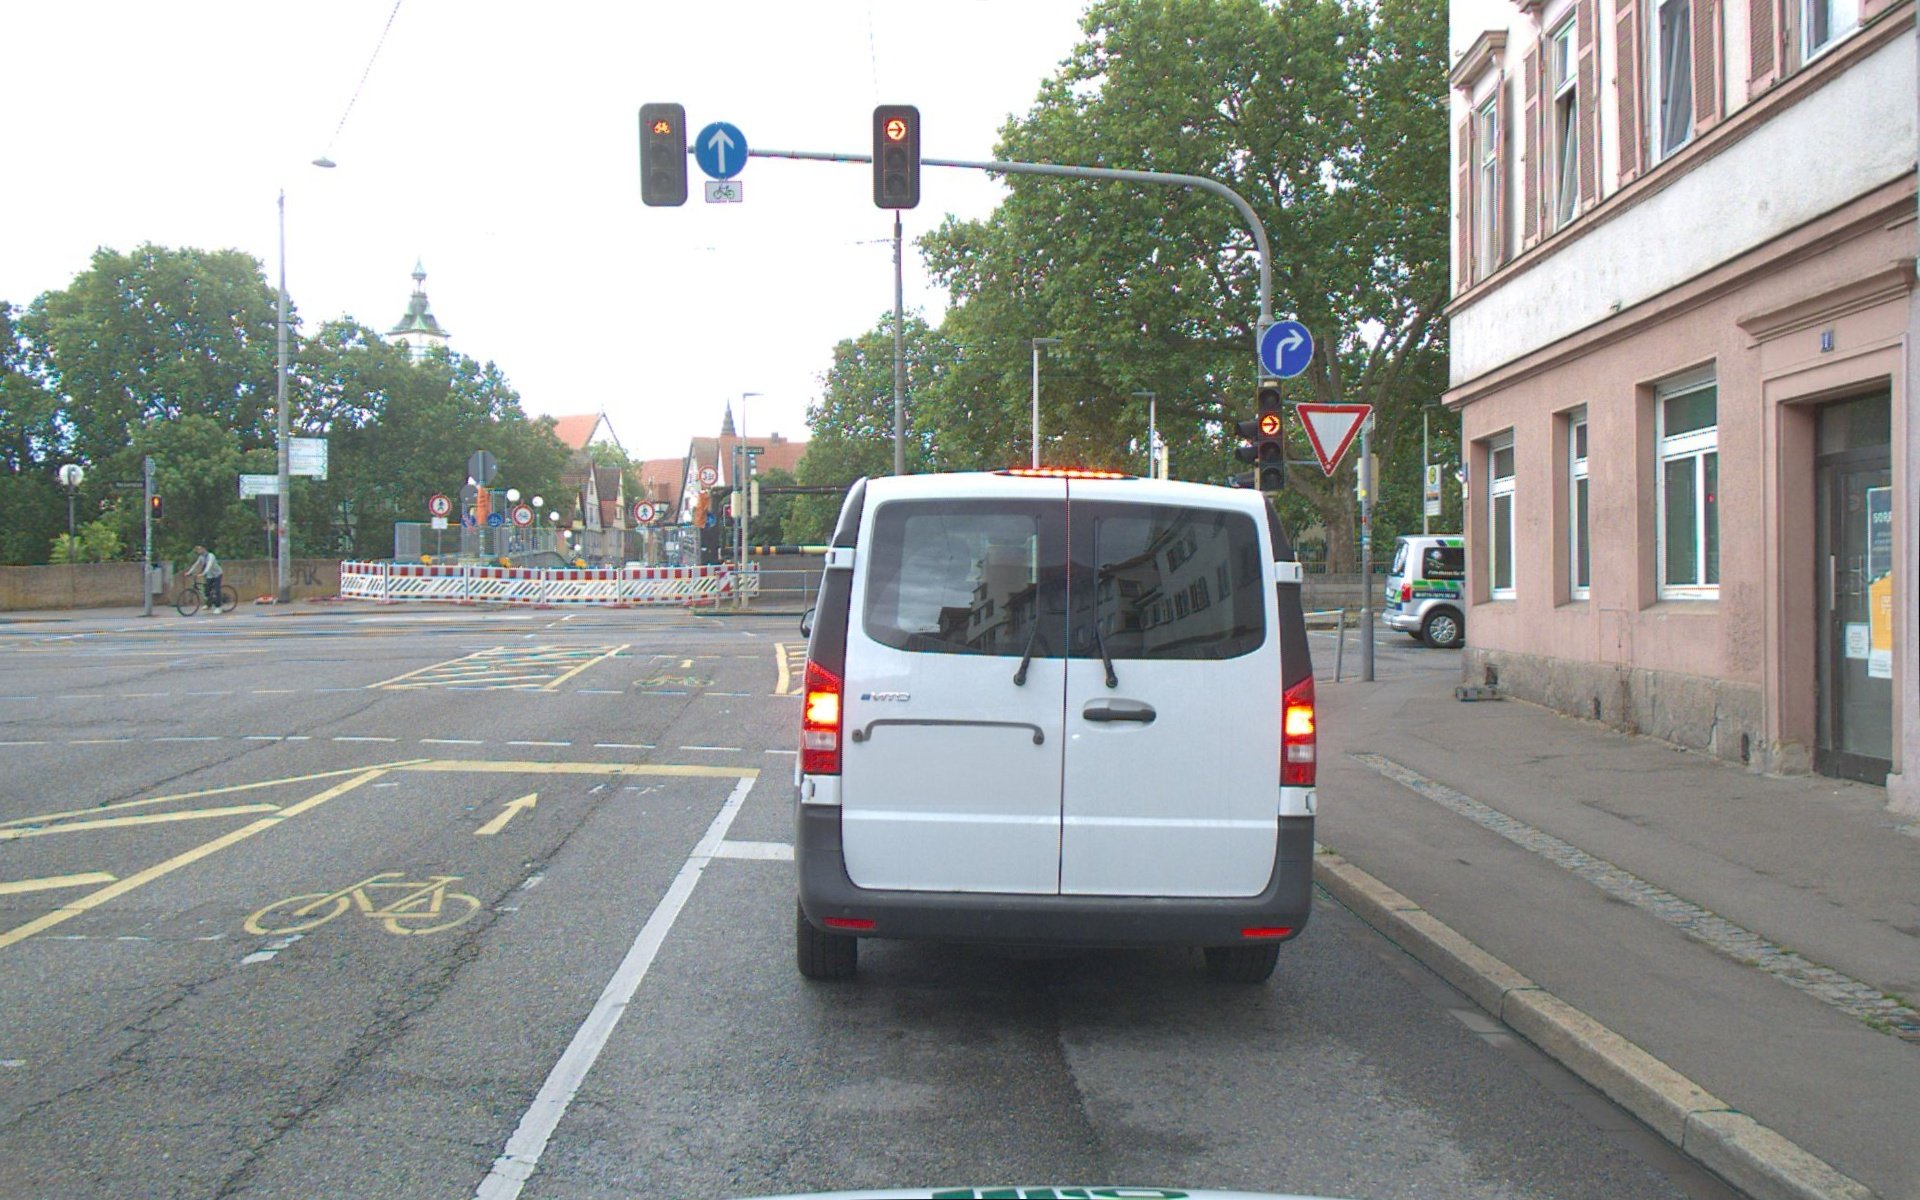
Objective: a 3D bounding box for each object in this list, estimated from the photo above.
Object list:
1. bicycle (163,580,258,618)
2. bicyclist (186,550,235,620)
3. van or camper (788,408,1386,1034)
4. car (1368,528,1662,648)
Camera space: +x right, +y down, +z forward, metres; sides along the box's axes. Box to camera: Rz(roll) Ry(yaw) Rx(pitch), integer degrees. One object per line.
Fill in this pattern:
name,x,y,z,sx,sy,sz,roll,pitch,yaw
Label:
bicycle,-19.363,-0.031,42.741,2.122,0.907,0.748,-2,2,-44
bicyclist,-19.362,-0.402,42.726,0.996,1.774,0.743,-1,2,-43
van or camper,0.242,0.405,7.479,1.900,1.958,4.436,1,0,-5
car,9.201,-0.234,27.732,4.255,1.833,2.002,1,4,4
